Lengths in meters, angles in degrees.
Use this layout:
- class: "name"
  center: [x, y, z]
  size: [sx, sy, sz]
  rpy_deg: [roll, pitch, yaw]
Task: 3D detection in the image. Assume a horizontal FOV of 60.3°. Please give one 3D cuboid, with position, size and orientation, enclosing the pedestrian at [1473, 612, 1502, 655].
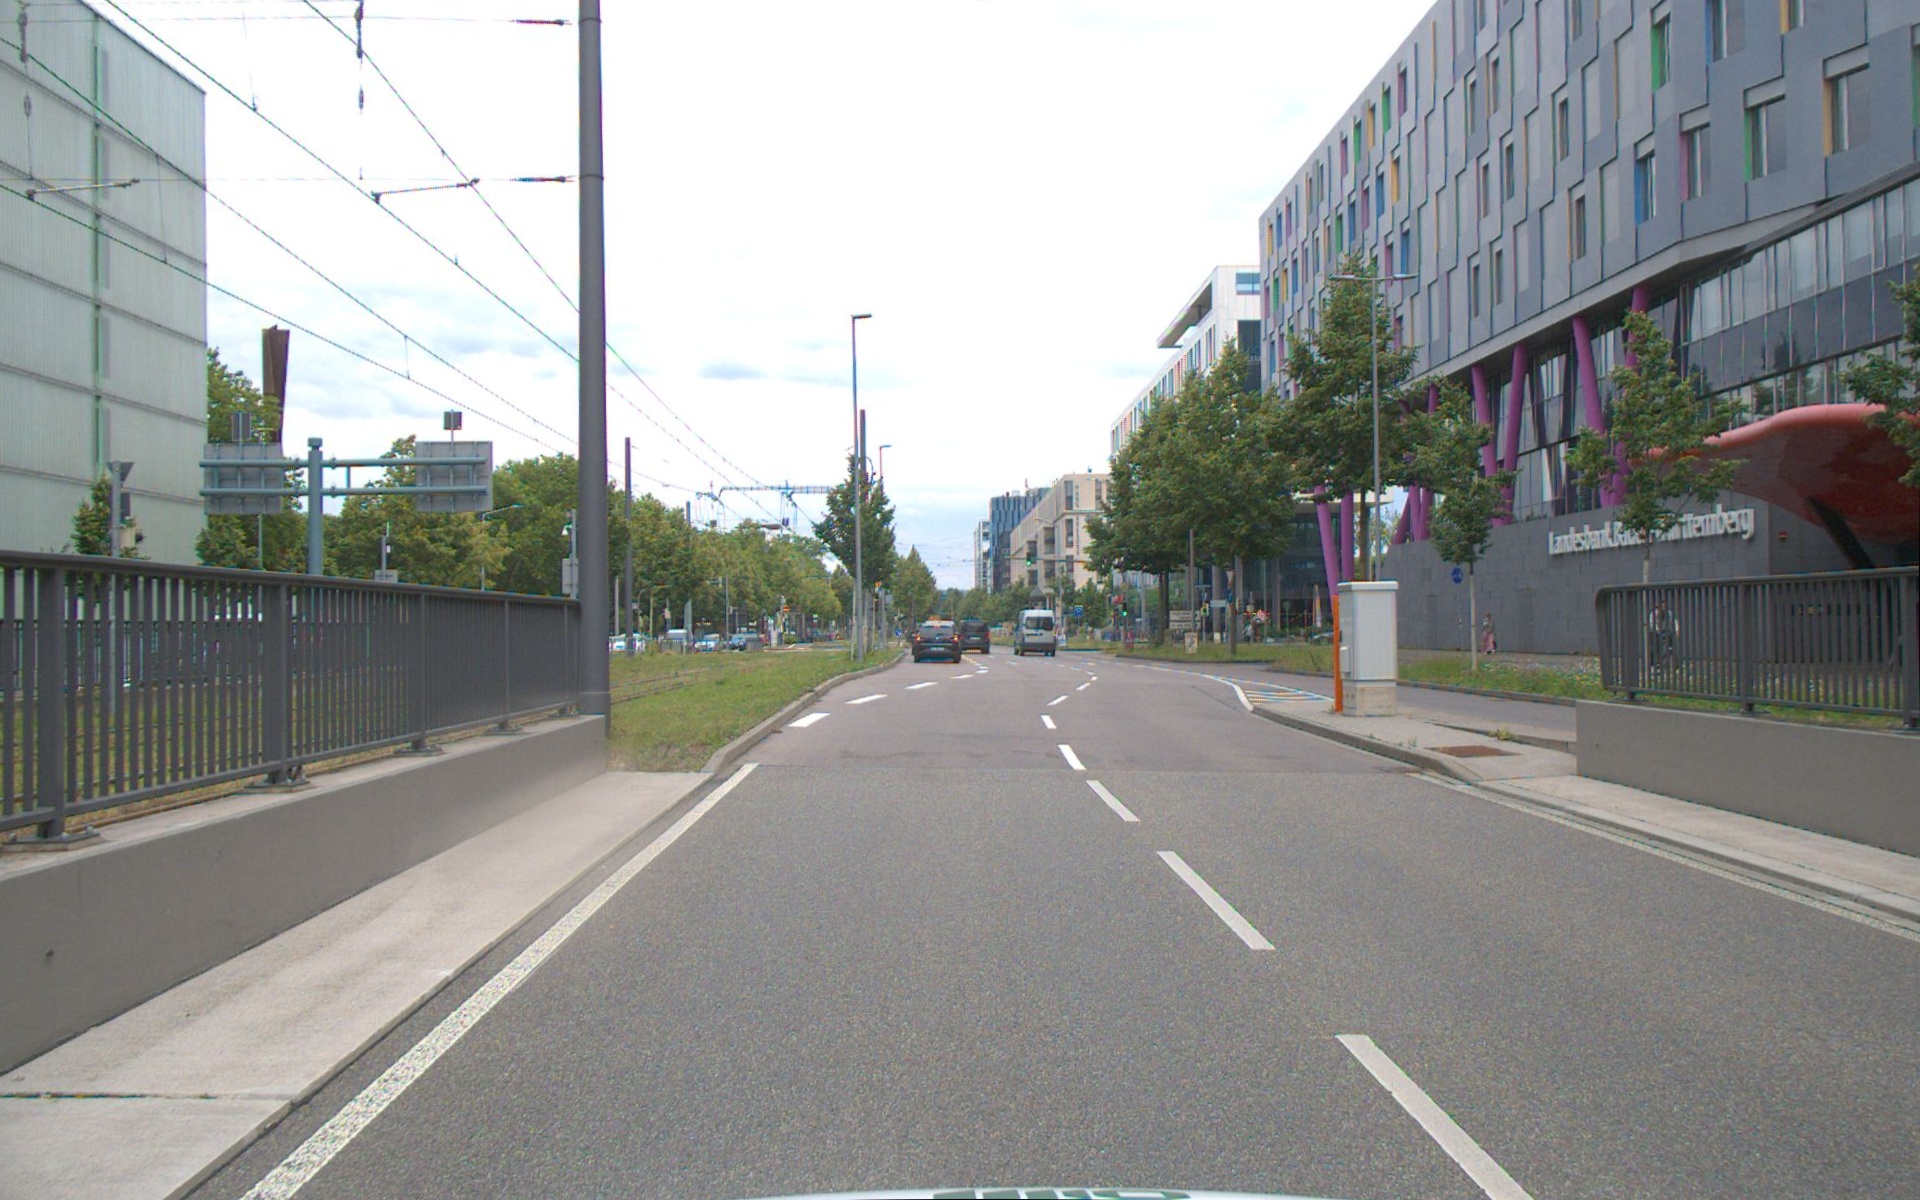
- class: "pedestrian"
  center: [20.114, 1.268, 63.100]
  size: [0.768, 1.610, 0.914]
  rpy_deg: [-1, -1, 0]

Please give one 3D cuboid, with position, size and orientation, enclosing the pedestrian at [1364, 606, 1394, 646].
- class: "pedestrian"
  center: [18.991, 1.168, 74.970]
  size: [1.030, 1.801, 1.136]
  rpy_deg: [-1, -1, 0]

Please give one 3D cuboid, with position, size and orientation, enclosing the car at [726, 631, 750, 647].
- class: "car"
  center: [-21.895, 3.830, 163.189]
  size: [1.924, 1.616, 4.687]
  rpy_deg: [0, -1, -2]

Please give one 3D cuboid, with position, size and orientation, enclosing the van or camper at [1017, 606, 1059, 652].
- class: "van or camper"
  center: [4.263, 1.567, 91.522]
  size: [2.066, 2.397, 4.922]
  rpy_deg: [0, 1, 0]

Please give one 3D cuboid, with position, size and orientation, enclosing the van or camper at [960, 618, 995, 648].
- class: "van or camper"
  center: [0.972, 1.893, 96.127]
  size: [1.953, 1.643, 4.788]
  rpy_deg: [0, 0, 0]

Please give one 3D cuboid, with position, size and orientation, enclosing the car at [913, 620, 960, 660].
- class: "car"
  center: [-0.929, 1.510, 62.461]
  size: [1.708, 1.442, 3.998]
  rpy_deg: [1, -1, -2]

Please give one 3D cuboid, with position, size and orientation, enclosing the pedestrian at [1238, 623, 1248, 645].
- class: "pedestrian"
  center: [21.187, 2.516, 123.835]
  size: [0.602, 1.632, 0.618]
  rpy_deg: [-1, -1, 1]

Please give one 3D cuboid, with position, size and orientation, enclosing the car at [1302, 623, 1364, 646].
- class: "car"
  center: [27.497, 2.526, 122.094]
  size: [4.163, 1.643, 1.758]
  rpy_deg: [-1, -1, 0]

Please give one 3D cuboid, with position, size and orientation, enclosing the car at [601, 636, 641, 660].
- class: "car"
  center: [-22.110, 3.111, 108.126]
  size: [1.727, 1.505, 4.571]
  rpy_deg: [-2, -1, -1]

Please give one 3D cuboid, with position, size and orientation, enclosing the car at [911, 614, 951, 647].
- class: "car"
  center: [-1.533, 1.598, 88.077]
  size: [1.952, 1.711, 4.000]
  rpy_deg: [0, -1, 1]

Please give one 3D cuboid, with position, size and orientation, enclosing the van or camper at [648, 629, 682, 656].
- class: "van or camper"
  center: [-22.257, 3.209, 124.845]
  size: [1.851, 1.934, 5.121]
  rpy_deg: [-2, -1, -3]

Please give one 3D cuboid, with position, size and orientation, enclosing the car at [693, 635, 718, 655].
- class: "car"
  center: [-21.507, 3.780, 139.884]
  size: [1.695, 1.470, 4.916]
  rpy_deg: [-3, 0, -5]

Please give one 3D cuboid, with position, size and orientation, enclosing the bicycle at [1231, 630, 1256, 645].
- class: "bicycle"
  center: [21.207, 2.780, 123.828]
  size: [1.755, 1.104, 0.618]
  rpy_deg: [-1, -1, 1]
